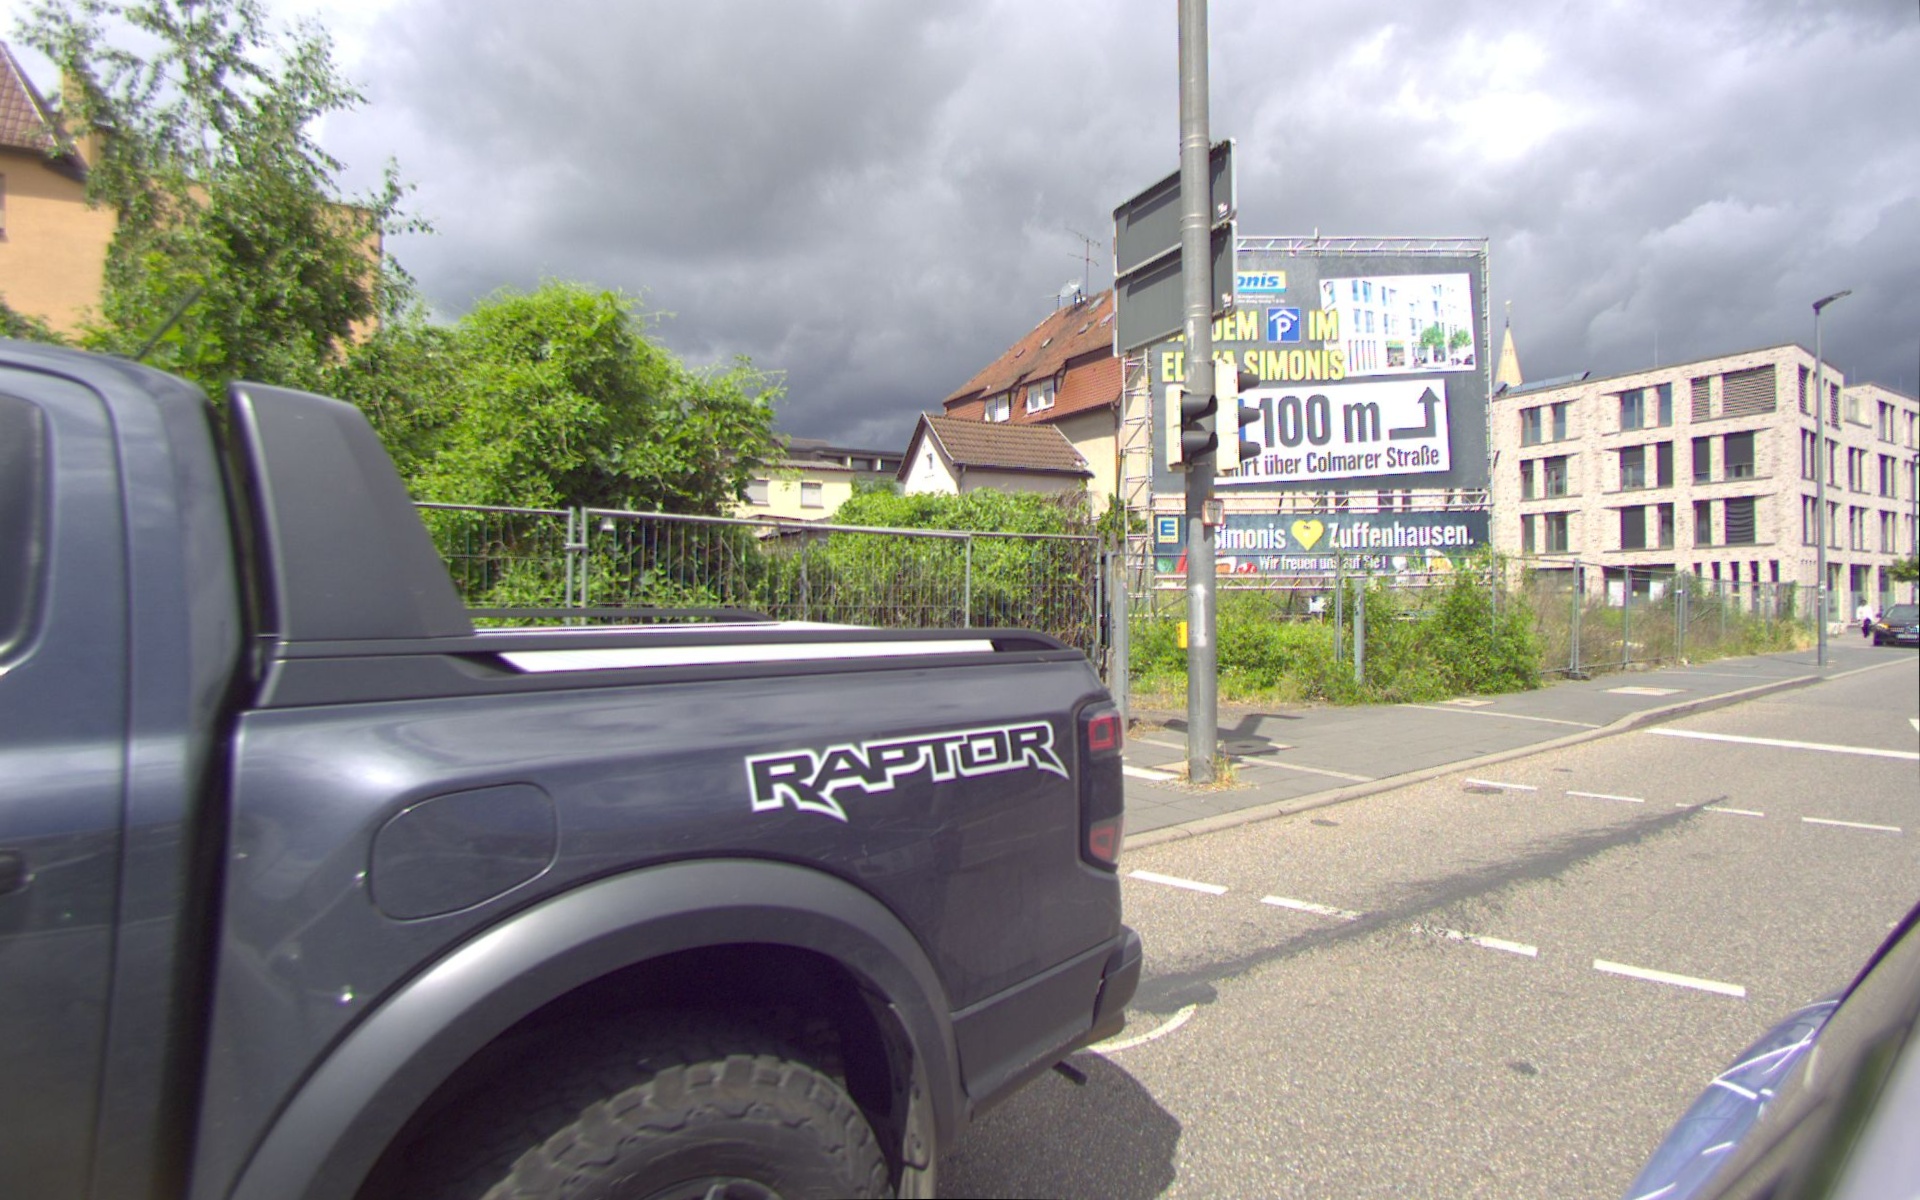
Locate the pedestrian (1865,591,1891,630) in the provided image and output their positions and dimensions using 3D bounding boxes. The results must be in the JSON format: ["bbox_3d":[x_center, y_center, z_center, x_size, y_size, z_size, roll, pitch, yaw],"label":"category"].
[{"bbox_3d":[36.344,0.398,40.055,0.769,1.531,0.673,1,0,-41],"label":"pedestrian"}]

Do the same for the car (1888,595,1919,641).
[{"bbox_3d":[32.735,0.597,34.021,3.726,1.441,1.678,-1,2,-39],"label":"car"}]

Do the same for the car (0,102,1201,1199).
[{"bbox_3d":[-2.119,0.466,1.320,5.056,1.910,2.005,-1,2,-38],"label":"car"}]
